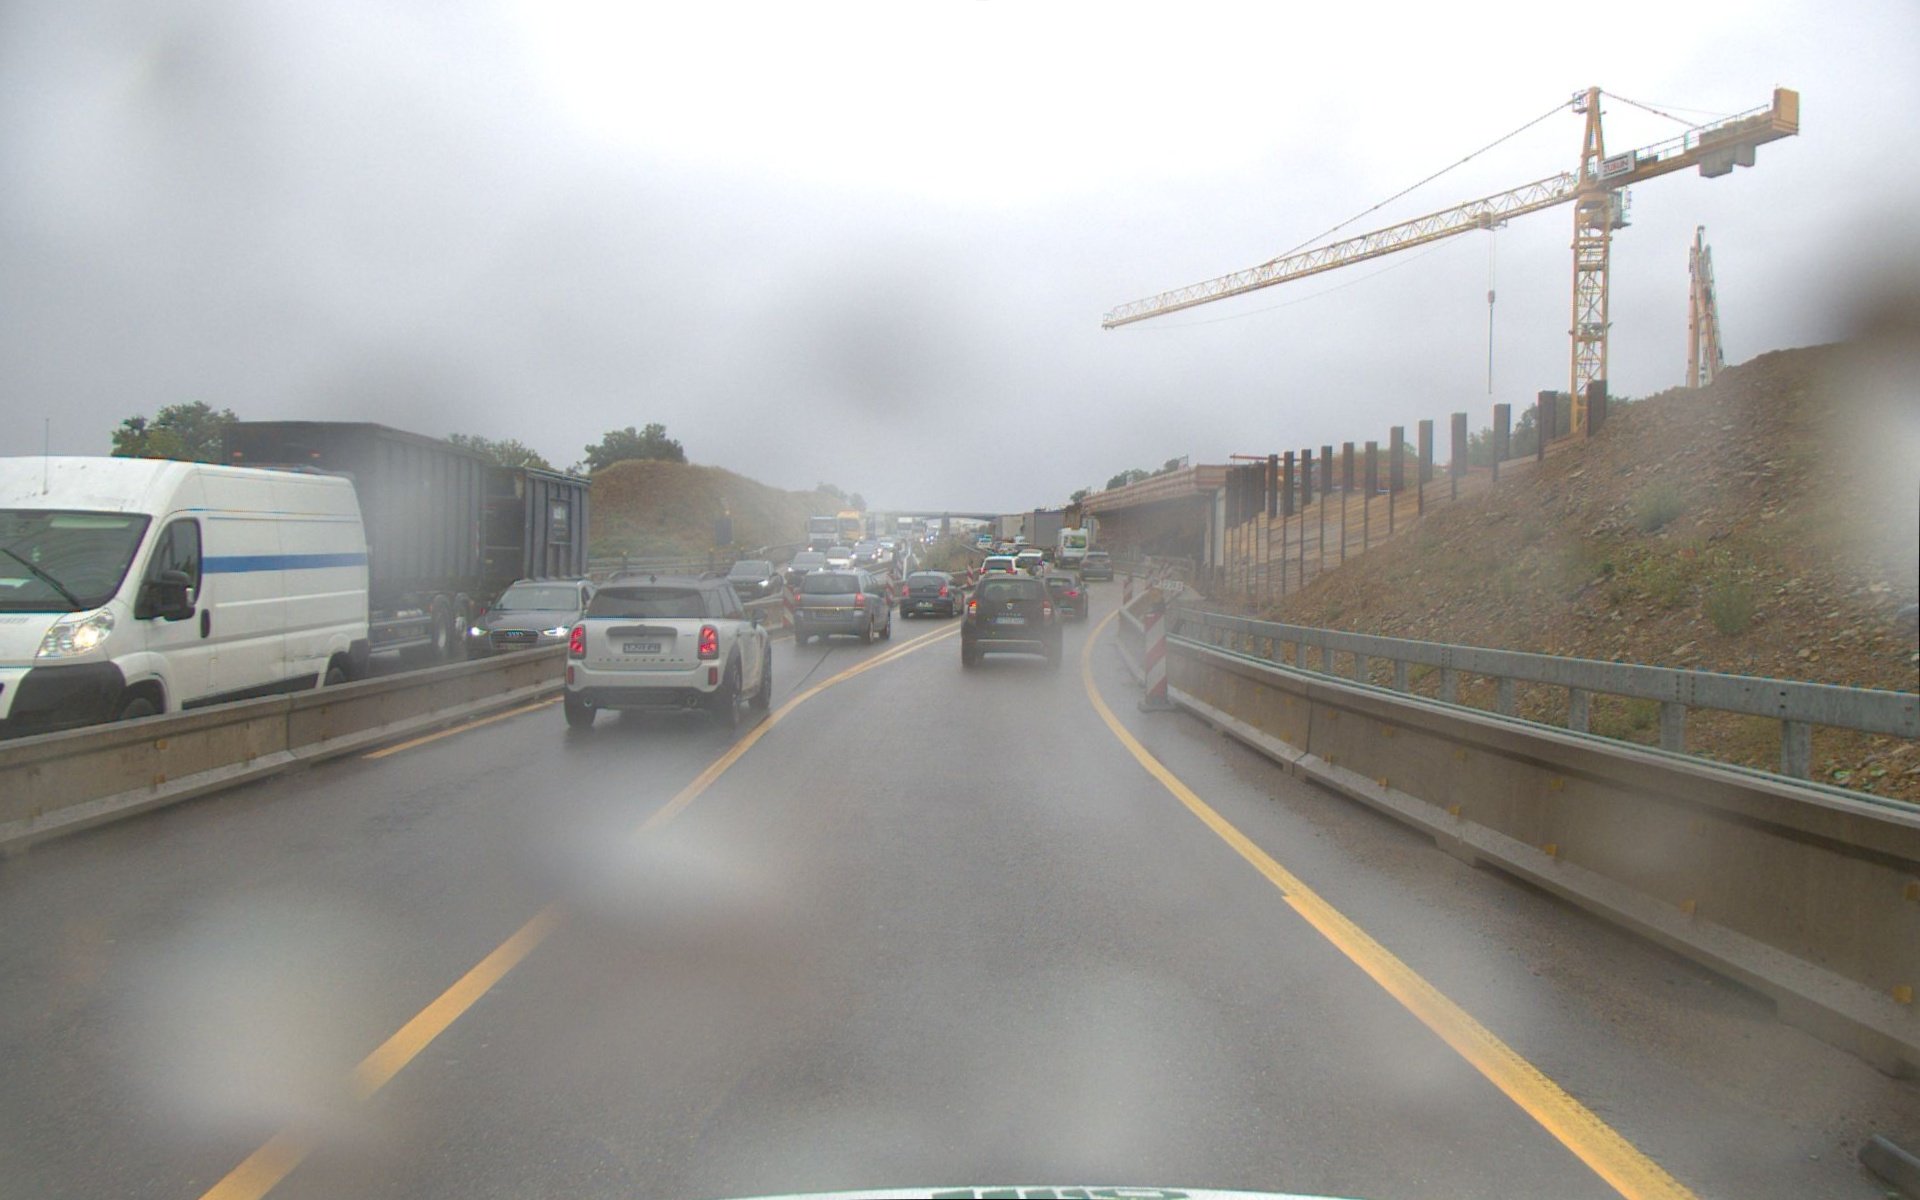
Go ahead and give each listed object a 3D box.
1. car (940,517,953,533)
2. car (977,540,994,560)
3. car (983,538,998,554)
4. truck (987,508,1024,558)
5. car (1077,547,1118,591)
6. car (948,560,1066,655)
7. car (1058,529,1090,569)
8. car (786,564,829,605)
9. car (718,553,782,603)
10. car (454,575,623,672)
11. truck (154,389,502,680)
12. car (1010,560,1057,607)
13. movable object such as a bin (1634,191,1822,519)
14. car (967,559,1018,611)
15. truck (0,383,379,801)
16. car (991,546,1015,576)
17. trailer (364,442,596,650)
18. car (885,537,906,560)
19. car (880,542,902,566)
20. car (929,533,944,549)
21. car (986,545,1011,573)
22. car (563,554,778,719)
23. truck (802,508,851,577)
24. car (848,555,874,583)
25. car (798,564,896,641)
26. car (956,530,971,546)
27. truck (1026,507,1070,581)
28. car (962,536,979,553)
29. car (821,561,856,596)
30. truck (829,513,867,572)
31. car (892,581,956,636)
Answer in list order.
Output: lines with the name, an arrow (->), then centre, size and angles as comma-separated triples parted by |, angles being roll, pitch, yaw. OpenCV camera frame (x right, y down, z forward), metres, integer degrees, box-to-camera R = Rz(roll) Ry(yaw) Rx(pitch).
car -> -2.024, -11.165, 246.027 | 1.953, 2.049, 3.998 | 1, -2, -2
car -> 2.806, -5.603, 185.524 | 1.811, 1.927, 4.020 | 0, -2, 0
car -> 4.404, -7.813, 238.005 | 1.953, 2.049, 3.998 | 1, -2, -2
truck -> 5.342, -7.872, 196.747 | 3.727, 5.131, 12.915 | 1, -2, -2
car -> 7.544, -1.669, 90.791 | 1.952, 2.201, 4.140 | 0, -2, 1
car -> 0.805, 0.187, 30.700 | 2.039, 1.628, 4.139 | 0, -2, -1
car -> 7.922, -3.524, 115.331 | 1.952, 2.528, 4.981 | 0, -2, 0
car -> -7.397, -0.723, 80.724 | 1.749, 1.841, 4.498 | 0, -2, -1
car -> -7.685, -0.801, 60.942 | 1.702, 1.714, 5.551 | 1, 1, -1
car -> -7.078, 0.349, 28.244 | 1.831, 1.497, 4.669 | 1, 0, -2
truck -> -10.105, -0.977, 27.710 | 2.588, 4.039, 9.209 | 1, 1, -2
car -> 3.758, -0.811, 83.889 | 1.951, 2.201, 4.143 | 0, -2, 9
movable object such as a bin -> 29.911, -9.123, 65.134 | 4.617, 11.033, 10.310 | 0, -2, 13
car -> 1.368, -0.617, 70.541 | 1.953, 2.049, 3.891 | 1, -2, -2
truck -> -6.937, -0.066, 13.906 | 2.104, 2.761, 6.014 | 1, 0, -2
car -> 3.479, -3.151, 134.043 | 1.952, 2.201, 4.140 | 0, -2, 1
trailer -> -10.442, -1.115, 37.149 | 2.691, 4.039, 9.670 | 1, 1, -2
car -> -7.429, -5.908, 190.788 | 2.171, 2.411, 4.663 | 1, 0, 0
car -> -7.303, -4.835, 175.671 | 2.193, 2.400, 4.876 | 1, 0, 0
car -> -3.303, -8.278, 231.917 | 1.953, 2.049, 3.998 | 1, -2, -2
car -> 3.352, -3.574, 145.722 | 1.953, 2.201, 4.138 | 1, -2, -2
car -> -3.109, 0.403, 18.567 | 1.779, 1.628, 4.305 | 1, -1, -2
truck -> -10.346, -4.405, 129.099 | 3.020, 5.005, 8.563 | 1, 0, 0
car -> -6.909, -2.160, 116.089 | 1.589, 1.841, 3.636 | 0, -2, 0
car -> -2.508, 0.101, 37.697 | 1.953, 1.628, 4.139 | 0, -2, -1
car -> 0.451, -8.610, 230.918 | 1.953, 2.049, 3.999 | 0, 0, -1
truck -> 7.324, -4.503, 136.553 | 3.035, 5.522, 9.448 | 0, -2, 6
car -> 1.280, -6.818, 203.525 | 1.953, 2.049, 3.999 | 0, 0, -1
car -> -7.015, -1.204, 95.686 | 1.749, 1.841, 4.498 | 0, -2, -1
truck -> -11.091, -5.639, 164.706 | 3.077, 5.512, 8.522 | 1, 0, 0
car -> -1.185, 0.309, 52.622 | 1.953, 1.628, 4.138 | 1, -2, -3
